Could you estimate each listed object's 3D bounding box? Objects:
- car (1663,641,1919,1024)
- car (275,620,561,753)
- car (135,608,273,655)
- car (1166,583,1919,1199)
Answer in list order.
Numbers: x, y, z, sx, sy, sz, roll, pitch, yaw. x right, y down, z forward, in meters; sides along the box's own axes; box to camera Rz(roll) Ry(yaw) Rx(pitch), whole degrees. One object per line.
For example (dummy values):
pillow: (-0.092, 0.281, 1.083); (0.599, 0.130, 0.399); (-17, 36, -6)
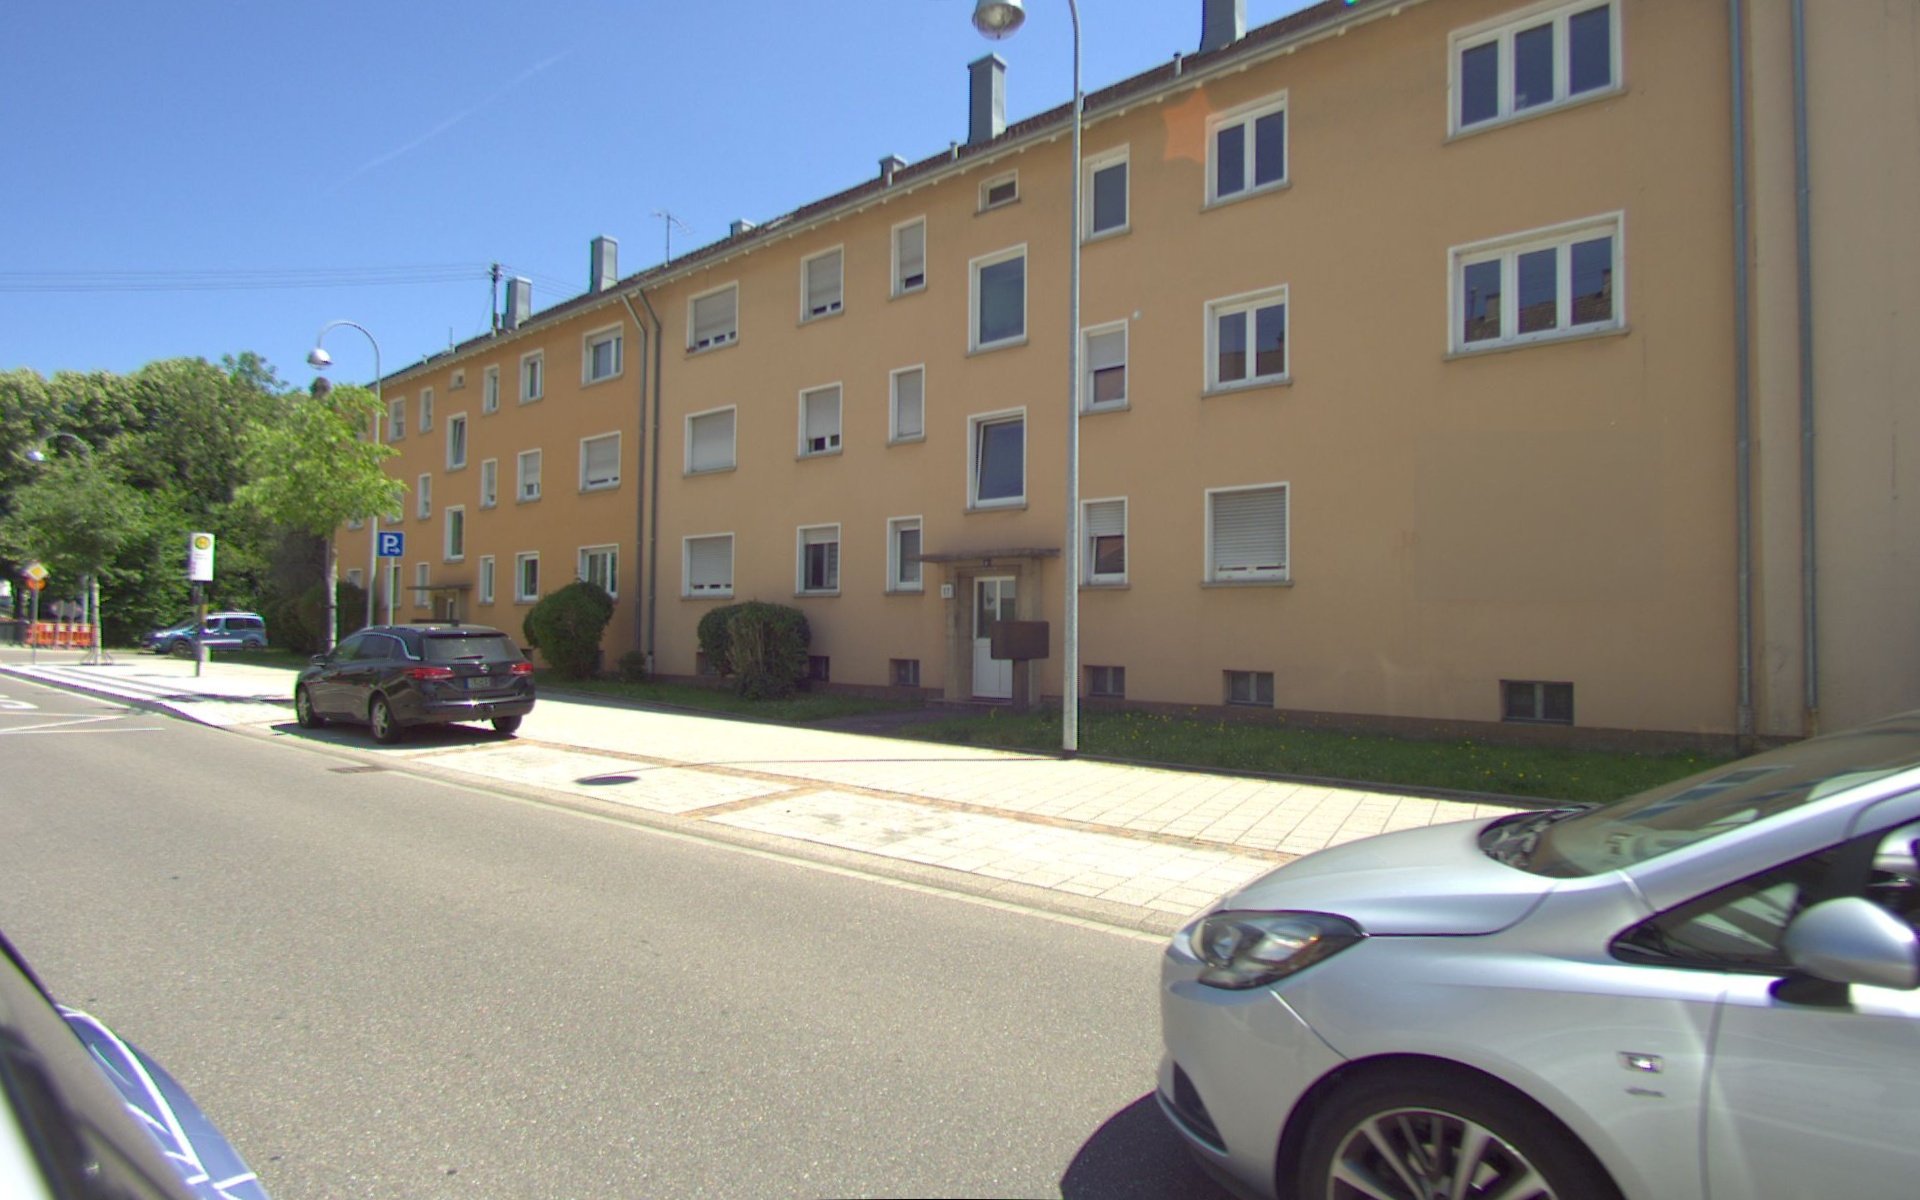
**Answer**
car: (5.263, 0.927, 3.964); (4.078, 1.431, 1.977); (0, -2, 34)
car: (-7.598, 1.069, 13.991); (4.556, 1.518, 1.839); (-1, -1, 38)
car: (-32.397, 1.345, 43.489); (1.811, 1.888, 4.393); (0, -2, 29)
car: (2.467, 0.755, 1.903); (3.752, 1.508, 1.644); (-1, -3, 36)
